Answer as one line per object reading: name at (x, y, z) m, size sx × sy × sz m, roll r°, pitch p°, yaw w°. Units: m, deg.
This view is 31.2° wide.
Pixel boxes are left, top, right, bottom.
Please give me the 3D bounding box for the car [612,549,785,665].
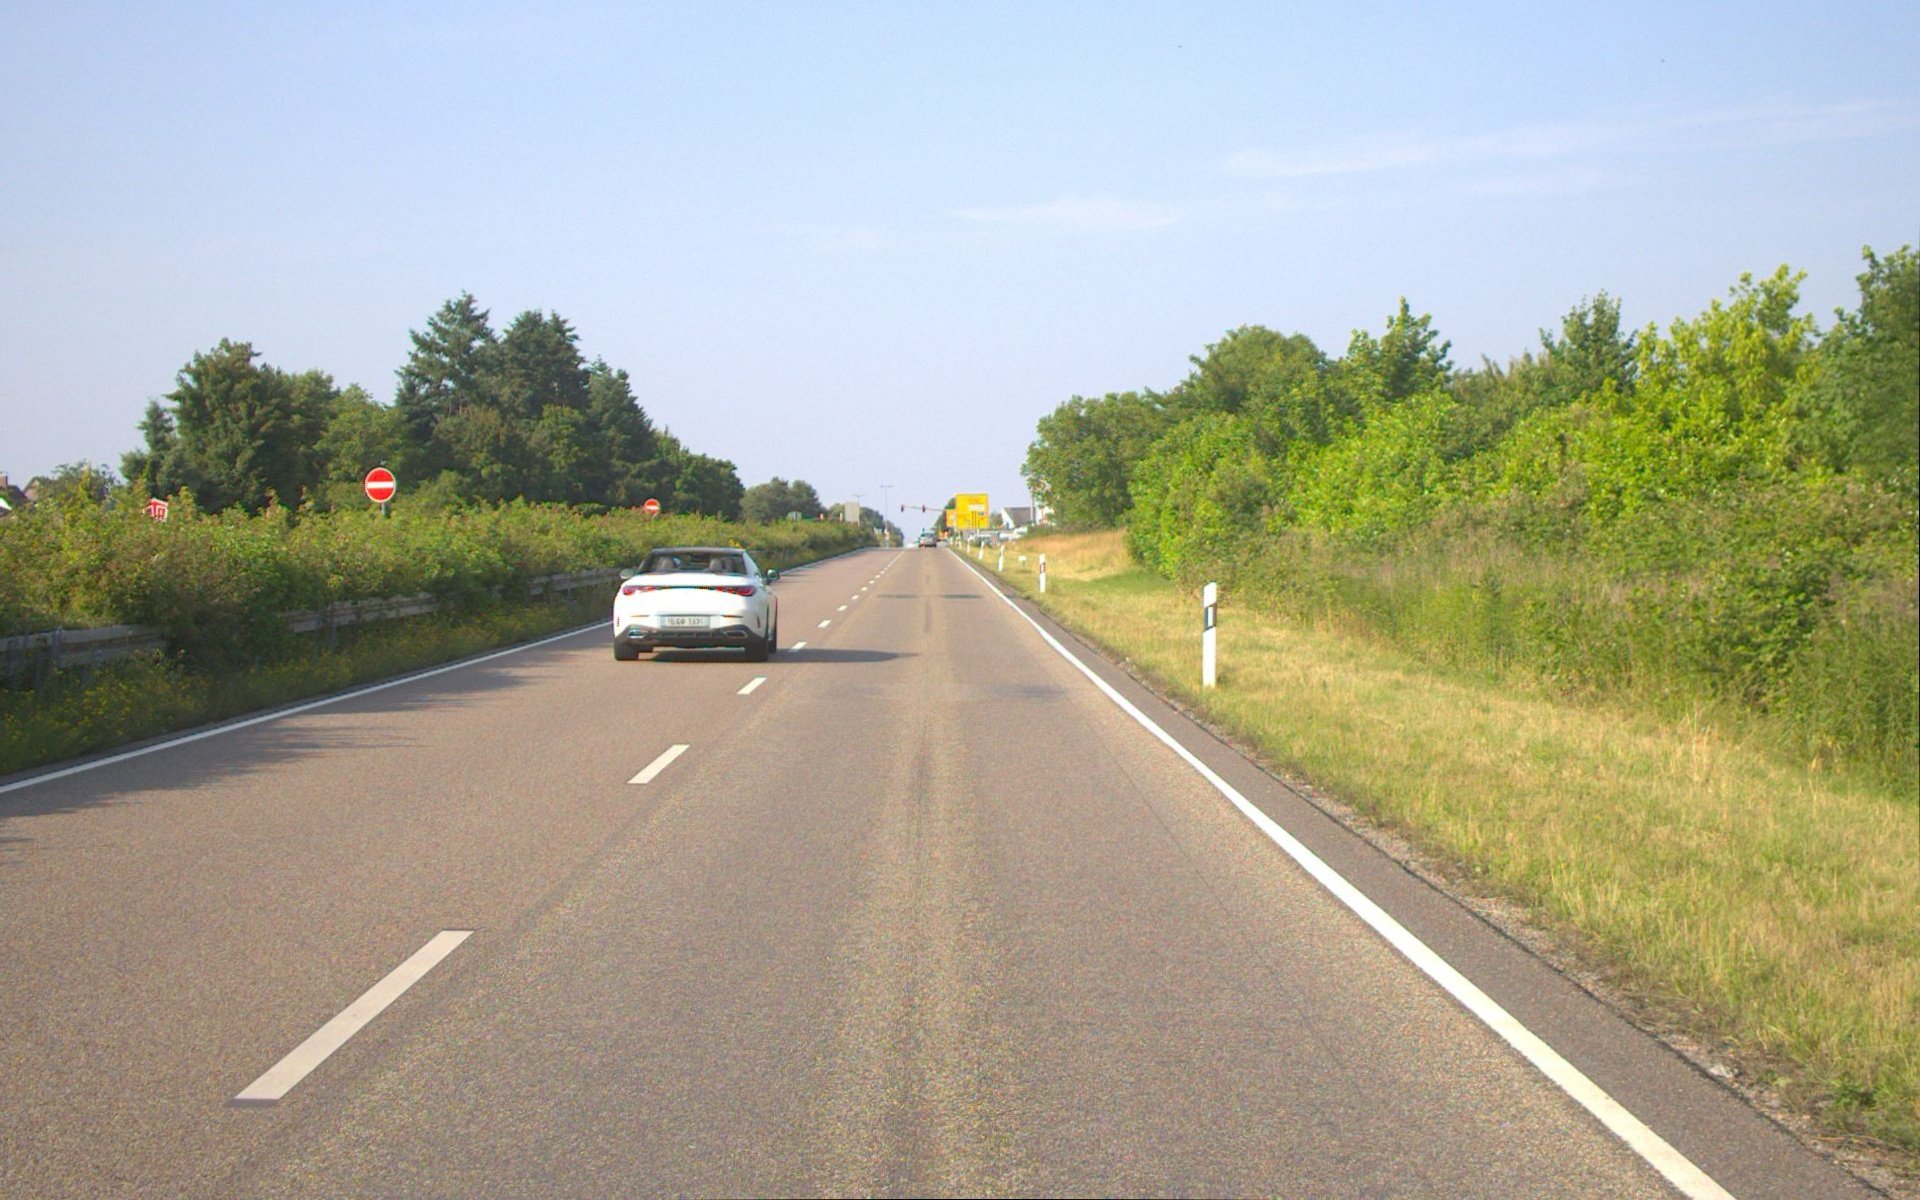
car at (-3.190, 0.050, 42.787) m, size 1.771 × 1.333 × 4.950 m, roll 1°, pitch 1°, yaw 0°
